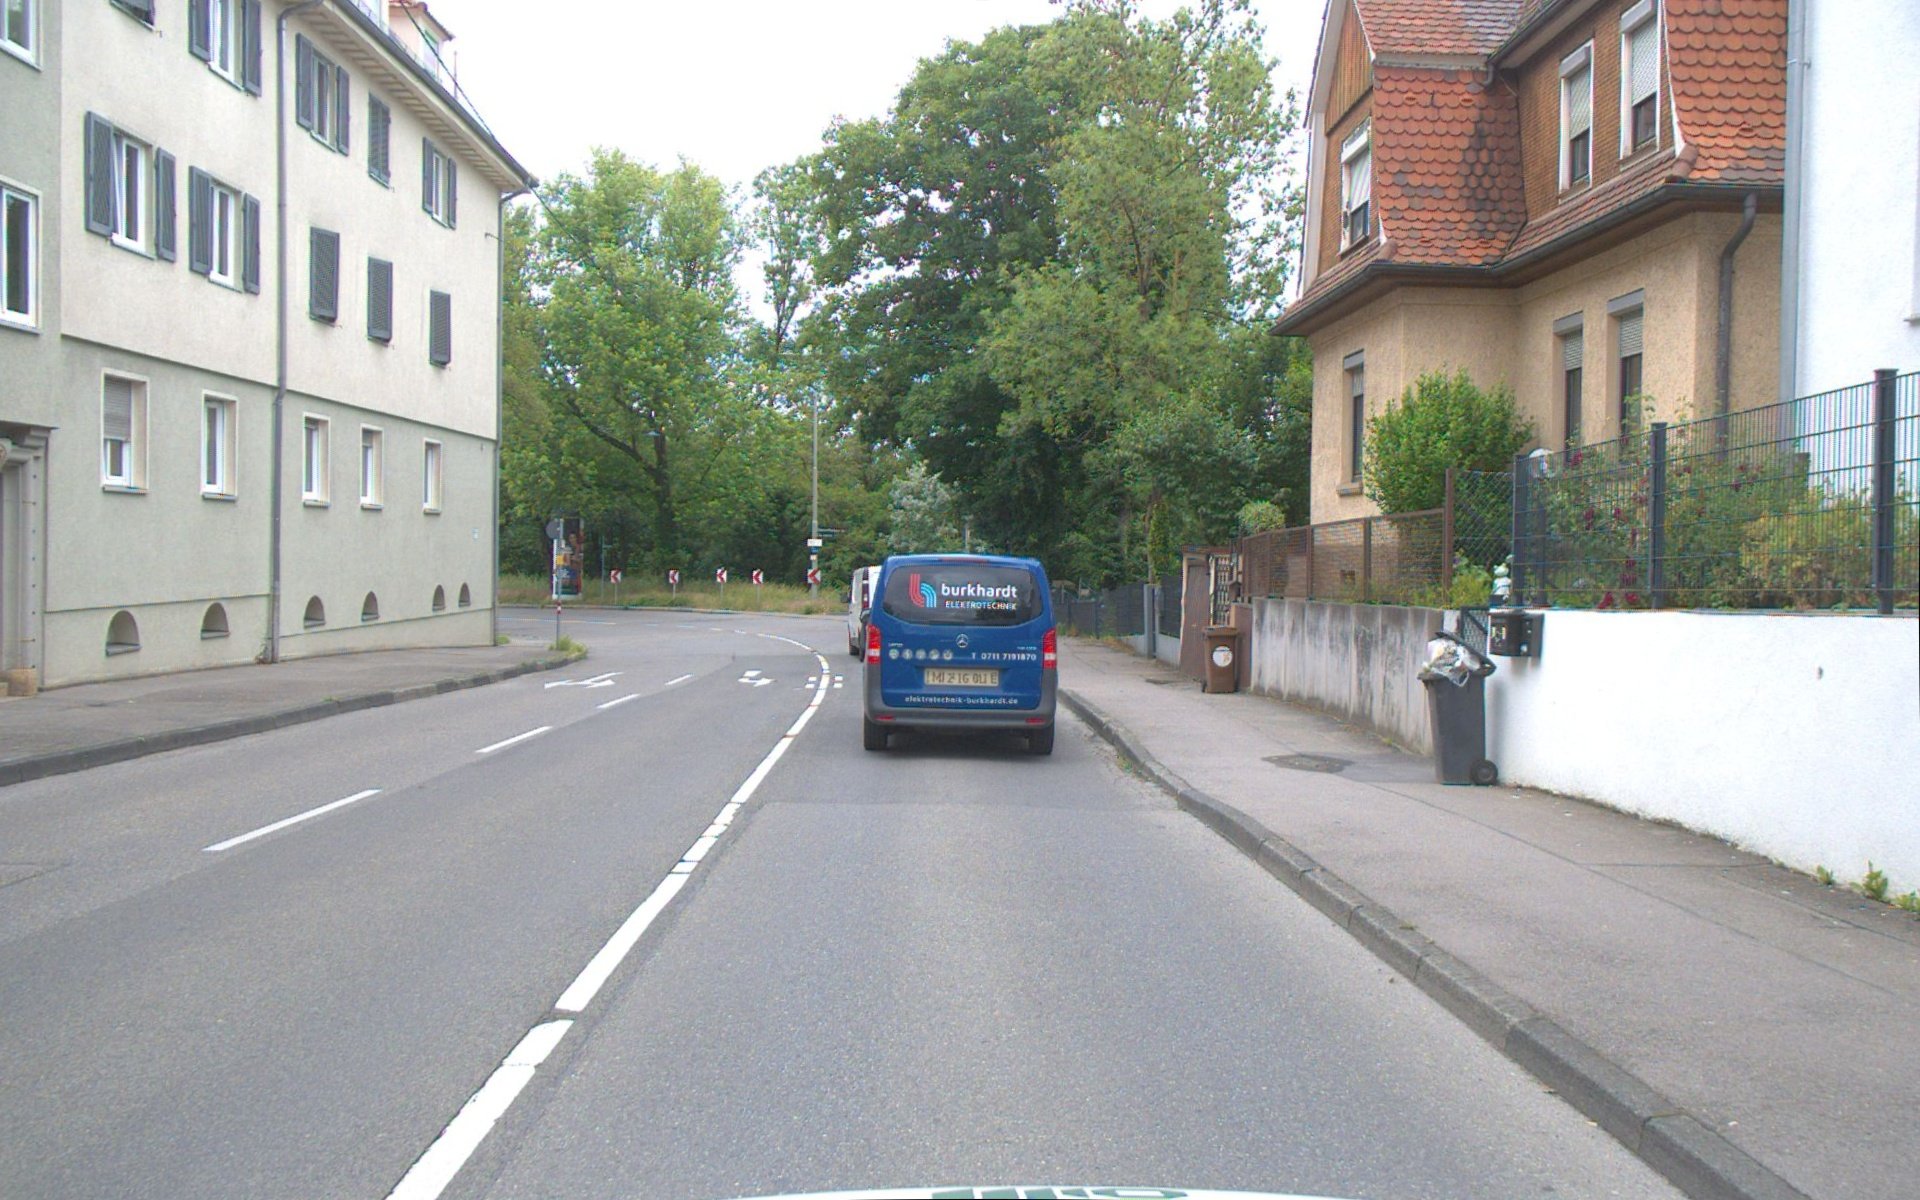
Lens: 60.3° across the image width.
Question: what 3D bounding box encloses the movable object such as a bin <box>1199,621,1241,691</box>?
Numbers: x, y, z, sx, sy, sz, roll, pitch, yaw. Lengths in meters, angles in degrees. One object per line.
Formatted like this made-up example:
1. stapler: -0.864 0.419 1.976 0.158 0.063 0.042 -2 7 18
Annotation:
1. movable object such as a bin: 3.659 0.781 23.325 0.452 0.940 0.566 -2 0 -3

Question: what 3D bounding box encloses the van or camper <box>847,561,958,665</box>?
1. van or camper: -1.313 0.205 35.491 1.981 1.990 4.890 -2 1 -6

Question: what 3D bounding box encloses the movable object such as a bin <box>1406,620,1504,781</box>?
1. movable object such as a bin: 3.874 0.774 12.981 0.517 1.198 0.634 -2 0 -3

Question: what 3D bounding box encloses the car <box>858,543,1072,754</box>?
1. car: -0.082 0.426 17.070 1.876 1.870 4.290 1 0 -4
